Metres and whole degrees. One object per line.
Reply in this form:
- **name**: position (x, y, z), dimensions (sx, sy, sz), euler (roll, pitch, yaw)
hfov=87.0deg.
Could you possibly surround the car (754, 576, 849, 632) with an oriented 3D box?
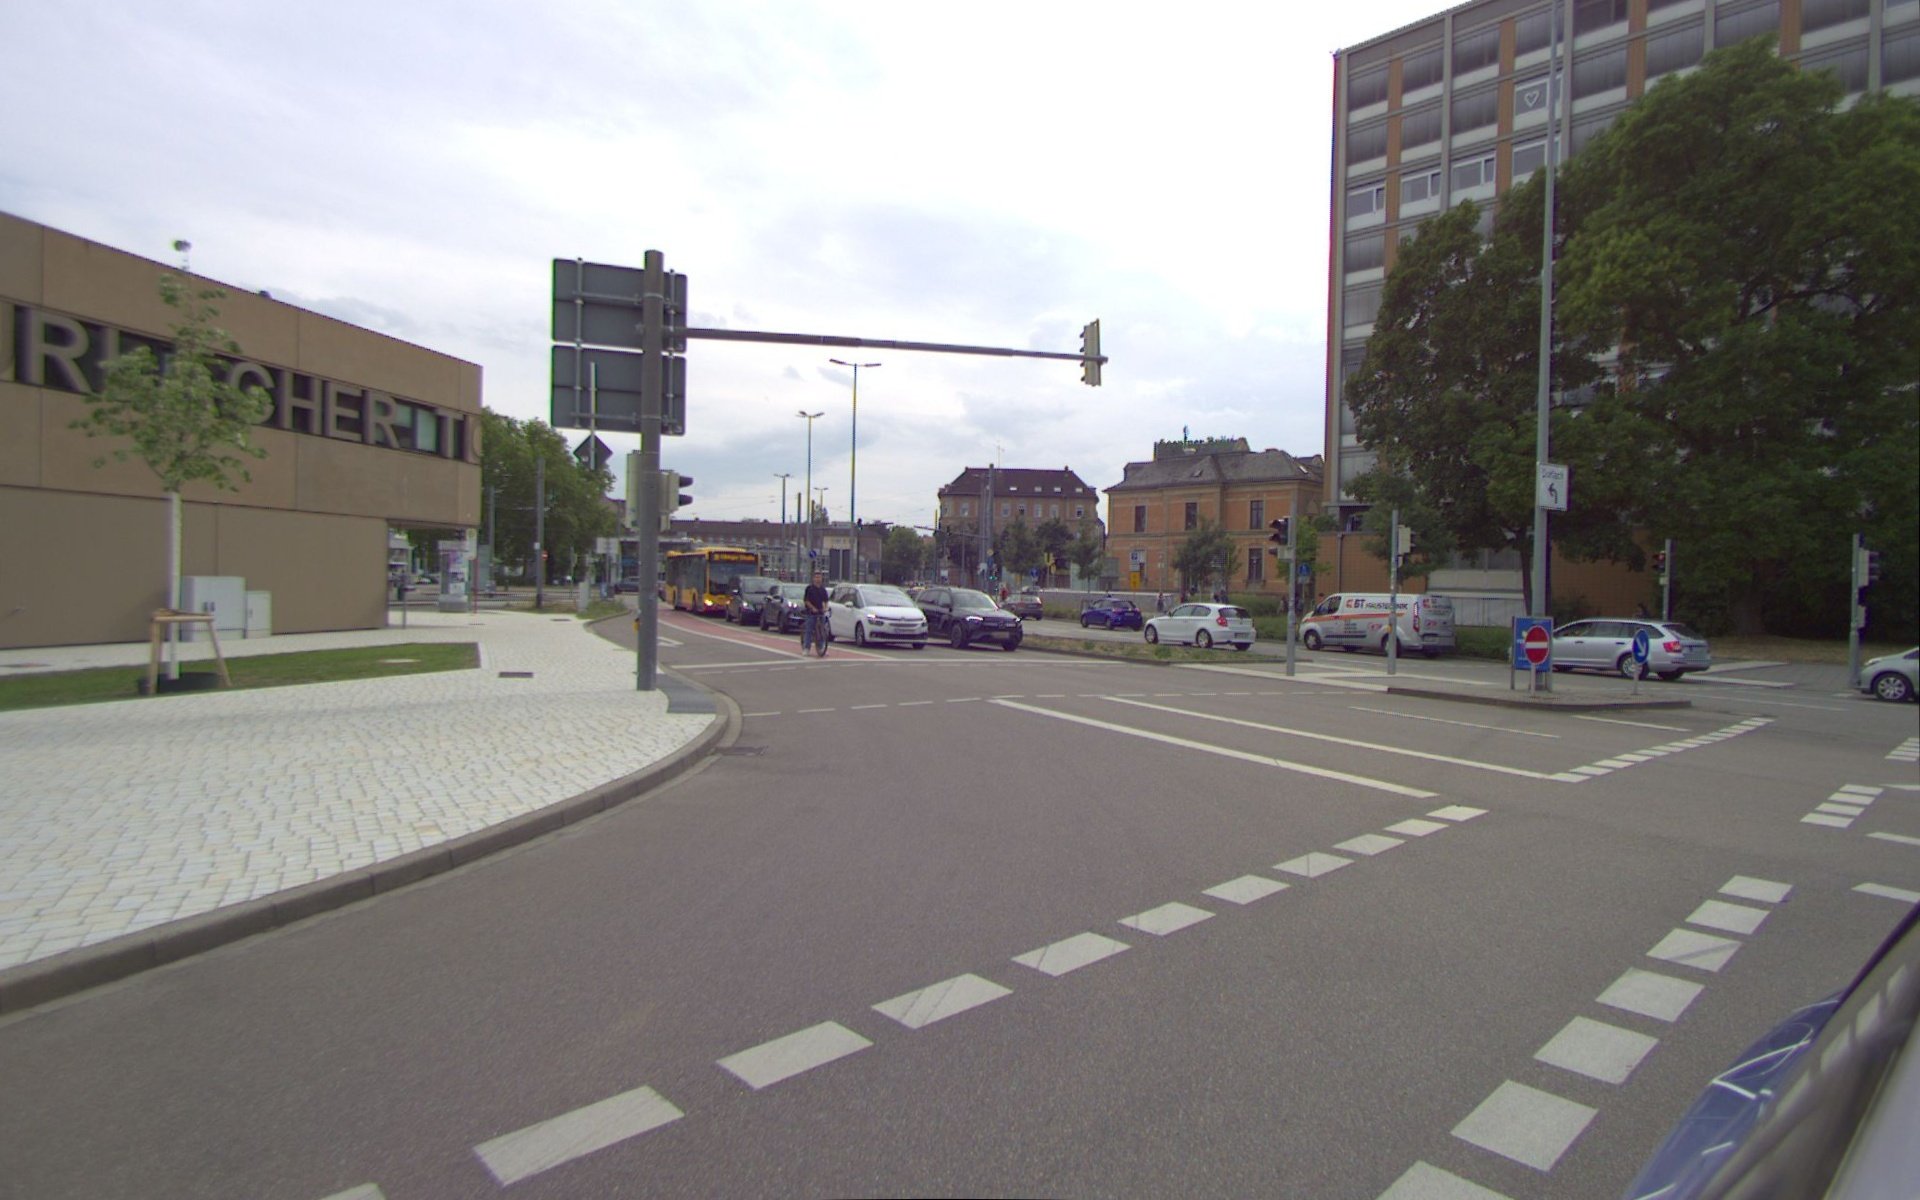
- **car**: position (-5.353, 0.101, 33.704), dimensions (1.958, 1.672, 4.297), euler (3, 0, -25)

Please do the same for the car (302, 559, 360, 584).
- **car**: position (-52.423, -2.333, 84.422), dimensions (3.919, 1.878, 2.002), euler (3, -1, -29)

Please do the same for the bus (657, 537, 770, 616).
- **bus**: position (-12.332, -1.072, 49.451), dimensions (3.092, 3.296, 12.436), euler (3, 0, -24)

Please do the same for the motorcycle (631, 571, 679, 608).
- **motorcycle**: position (-18.196, -0.613, 60.295), dimensions (1.959, 2.039, 4.006), euler (3, -1, -27)

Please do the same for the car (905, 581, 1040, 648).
- **car**: position (0.242, 0.355, 28.393), dimensions (1.958, 1.672, 4.520), euler (3, 0, -25)

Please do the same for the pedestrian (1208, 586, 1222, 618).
- **pedestrian**: position (12.817, 0.098, 50.899), dimensions (0.546, 1.555, 0.544), euler (0, 1, 31)

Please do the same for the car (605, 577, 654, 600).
- **car**: position (-30.650, -1.031, 93.933), dimensions (3.922, 1.906, 2.001), euler (2, -1, -2)

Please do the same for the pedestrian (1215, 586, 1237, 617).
- **pedestrian**: position (13.671, 0.065, 52.010), dimensions (0.764, 1.593, 0.814), euler (0, 1, -13)

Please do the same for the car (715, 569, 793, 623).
- **car**: position (-8.118, -0.179, 39.564), dimensions (1.958, 1.923, 4.297), euler (3, 0, -25)

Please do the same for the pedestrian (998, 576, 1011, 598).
- **pedestrian**: position (3.299, -0.978, 74.358), dimensions (0.764, 1.593, 0.814), euler (0, 1, -13)

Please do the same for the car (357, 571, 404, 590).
- **car**: position (-58.305, -1.971, 101.900), dimensions (3.918, 1.705, 1.608), euler (3, -1, -27)

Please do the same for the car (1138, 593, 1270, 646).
- **car**: position (7.612, 0.577, 31.978), dimensions (1.724, 1.476, 4.230), euler (3, 0, -26)

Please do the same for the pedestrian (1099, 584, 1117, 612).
- **pedestrian**: position (8.603, -0.123, 58.885), dimensions (0.764, 1.593, 0.814), euler (0, 1, -13)

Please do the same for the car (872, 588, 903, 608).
- **car**: position (-6.379, -0.213, 89.065), dimensions (1.801, 1.635, 3.553), euler (3, 0, -20)

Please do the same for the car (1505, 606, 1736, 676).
- **car**: position (16.482, 0.971, 25.517), dimensions (1.788, 1.493, 4.534), euler (3, 0, -29)

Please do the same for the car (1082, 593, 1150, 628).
- **car**: position (7.364, 0.471, 48.017), dimensions (1.636, 1.527, 3.642), euler (3, 0, -19)

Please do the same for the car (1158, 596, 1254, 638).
- **car**: position (9.920, 0.667, 41.186), dimensions (1.824, 1.552, 4.010), euler (3, 0, -20)

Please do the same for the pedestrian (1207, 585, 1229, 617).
- **pedestrian**: position (13.001, 0.048, 50.940), dimensions (0.764, 1.593, 0.814), euler (0, 1, -13)

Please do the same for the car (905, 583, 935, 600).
- **car**: position (-3.613, -0.732, 91.206), dimensions (1.673, 1.438, 3.708), euler (3, 0, -20)

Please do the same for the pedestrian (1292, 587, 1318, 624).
- **pedestrian**: position (15.126, 0.214, 44.389), dimensions (0.764, 1.593, 0.814), euler (0, 1, -17)

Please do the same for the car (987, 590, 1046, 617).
- **car**: position (3.244, 0.210, 58.667), dimensions (2.094, 1.438, 3.708), euler (3, 0, -20)

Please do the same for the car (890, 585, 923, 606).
- **car**: position (-4.060, -0.334, 76.745), dimensions (1.680, 1.438, 4.008), euler (2, 0, -15)

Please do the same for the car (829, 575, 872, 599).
- **car**: position (-7.572, -0.905, 69.903), dimensions (1.638, 1.508, 3.444), euler (2, 0, -31)

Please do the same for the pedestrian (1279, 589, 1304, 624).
- **pedestrian**: position (15.247, 0.281, 46.607), dimensions (0.764, 1.593, 0.814), euler (0, 1, -13)

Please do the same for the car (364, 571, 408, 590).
- **car**: position (-59.755, -2.014, 105.410), dimensions (3.918, 1.705, 1.608), euler (3, -1, -27)

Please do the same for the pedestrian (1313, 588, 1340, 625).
- **pedestrian**: position (16.213, 0.263, 44.801), dimensions (0.764, 1.593, 0.814), euler (0, 1, -17)

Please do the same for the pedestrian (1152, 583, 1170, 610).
- **pedestrian**: position (11.715, -0.210, 58.910), dimensions (0.764, 1.593, 0.814), euler (0, 1, -13)

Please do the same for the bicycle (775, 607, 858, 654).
- **bicycle**: position (-3.117, 0.631, 21.686), dimensions (0.847, 0.888, 2.521), euler (3, 0, -30)

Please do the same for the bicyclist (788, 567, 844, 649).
- **bicyclist**: position (-3.091, 0.165, 21.675), dimensions (0.852, 1.690, 0.882), euler (3, -1, -30)

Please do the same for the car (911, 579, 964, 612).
- **car**: position (-1.305, -0.266, 55.586), dimensions (1.723, 1.671, 4.696), euler (3, 0, -16)

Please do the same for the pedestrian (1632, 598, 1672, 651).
- **pedestrian**: position (21.707, 0.751, 31.754), dimensions (0.766, 1.593, 0.812), euler (-1, 1, -36)

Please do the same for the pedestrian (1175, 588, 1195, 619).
- **pedestrian**: position (12.029, 0.185, 54.090), dimensions (0.764, 1.593, 0.814), euler (0, 1, -13)

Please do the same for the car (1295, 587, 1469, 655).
- **car**: position (13.371, 0.608, 32.430), dimensions (1.787, 1.984, 5.213), euler (3, 0, -26)

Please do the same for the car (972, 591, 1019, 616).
- **car**: position (2.206, 0.196, 63.663), dimensions (1.673, 1.438, 3.708), euler (3, 0, -20)

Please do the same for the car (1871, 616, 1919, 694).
- **car**: position (19.977, 1.128, 19.038), dimensions (1.637, 1.508, 3.881), euler (3, 0, -28)

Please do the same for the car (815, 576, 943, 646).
- **car**: position (-2.253, 0.250, 27.044), dimensions (1.958, 1.672, 4.297), euler (3, 0, -25)
